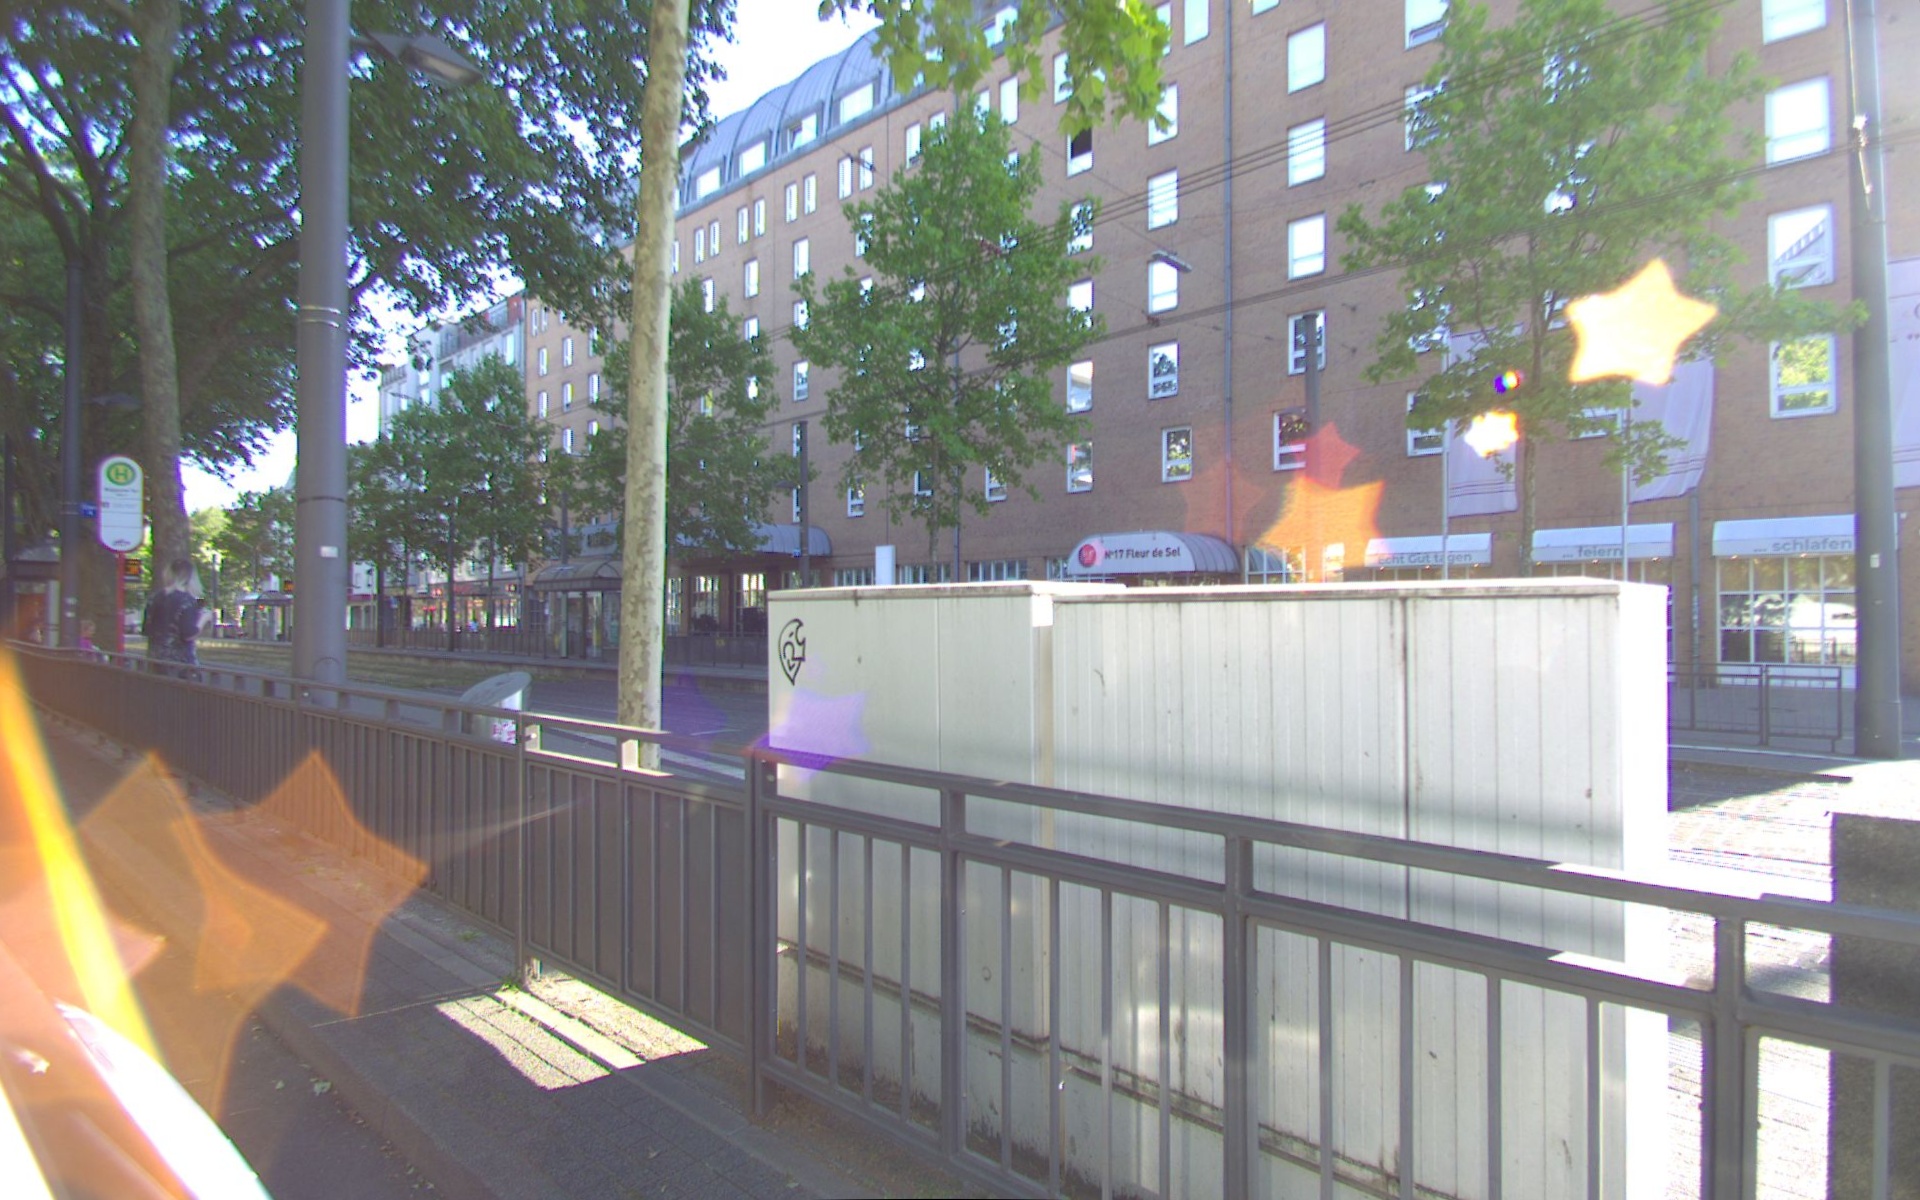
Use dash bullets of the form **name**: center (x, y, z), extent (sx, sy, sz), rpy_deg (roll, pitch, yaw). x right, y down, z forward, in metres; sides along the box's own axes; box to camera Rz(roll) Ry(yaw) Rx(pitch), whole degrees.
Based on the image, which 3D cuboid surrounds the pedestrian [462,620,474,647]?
- **pedestrian**: center (-32.705, 2.239, 67.257), extent (0.574, 1.748, 0.497), rpy_deg (-2, -2, 43)

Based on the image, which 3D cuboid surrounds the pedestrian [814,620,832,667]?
- **pedestrian**: center (-5.157, 1.615, 38.038), extent (0.437, 1.748, 0.545), rpy_deg (1, -2, -42)

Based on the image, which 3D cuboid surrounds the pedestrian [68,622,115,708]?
- **pedestrian**: center (-13.999, 1.031, 16.320), extent (0.534, 1.327, 0.525), rpy_deg (-1, 0, -37)

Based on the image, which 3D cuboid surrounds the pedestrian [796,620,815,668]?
- **pedestrian**: center (-5.735, 1.626, 37.597), extent (0.472, 1.748, 0.545), rpy_deg (1, -2, -42)

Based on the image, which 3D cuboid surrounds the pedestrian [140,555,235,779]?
- **pedestrian**: center (-6.652, 0.554, 8.715), extent (0.524, 1.848, 0.536), rpy_deg (-1, 0, 41)
